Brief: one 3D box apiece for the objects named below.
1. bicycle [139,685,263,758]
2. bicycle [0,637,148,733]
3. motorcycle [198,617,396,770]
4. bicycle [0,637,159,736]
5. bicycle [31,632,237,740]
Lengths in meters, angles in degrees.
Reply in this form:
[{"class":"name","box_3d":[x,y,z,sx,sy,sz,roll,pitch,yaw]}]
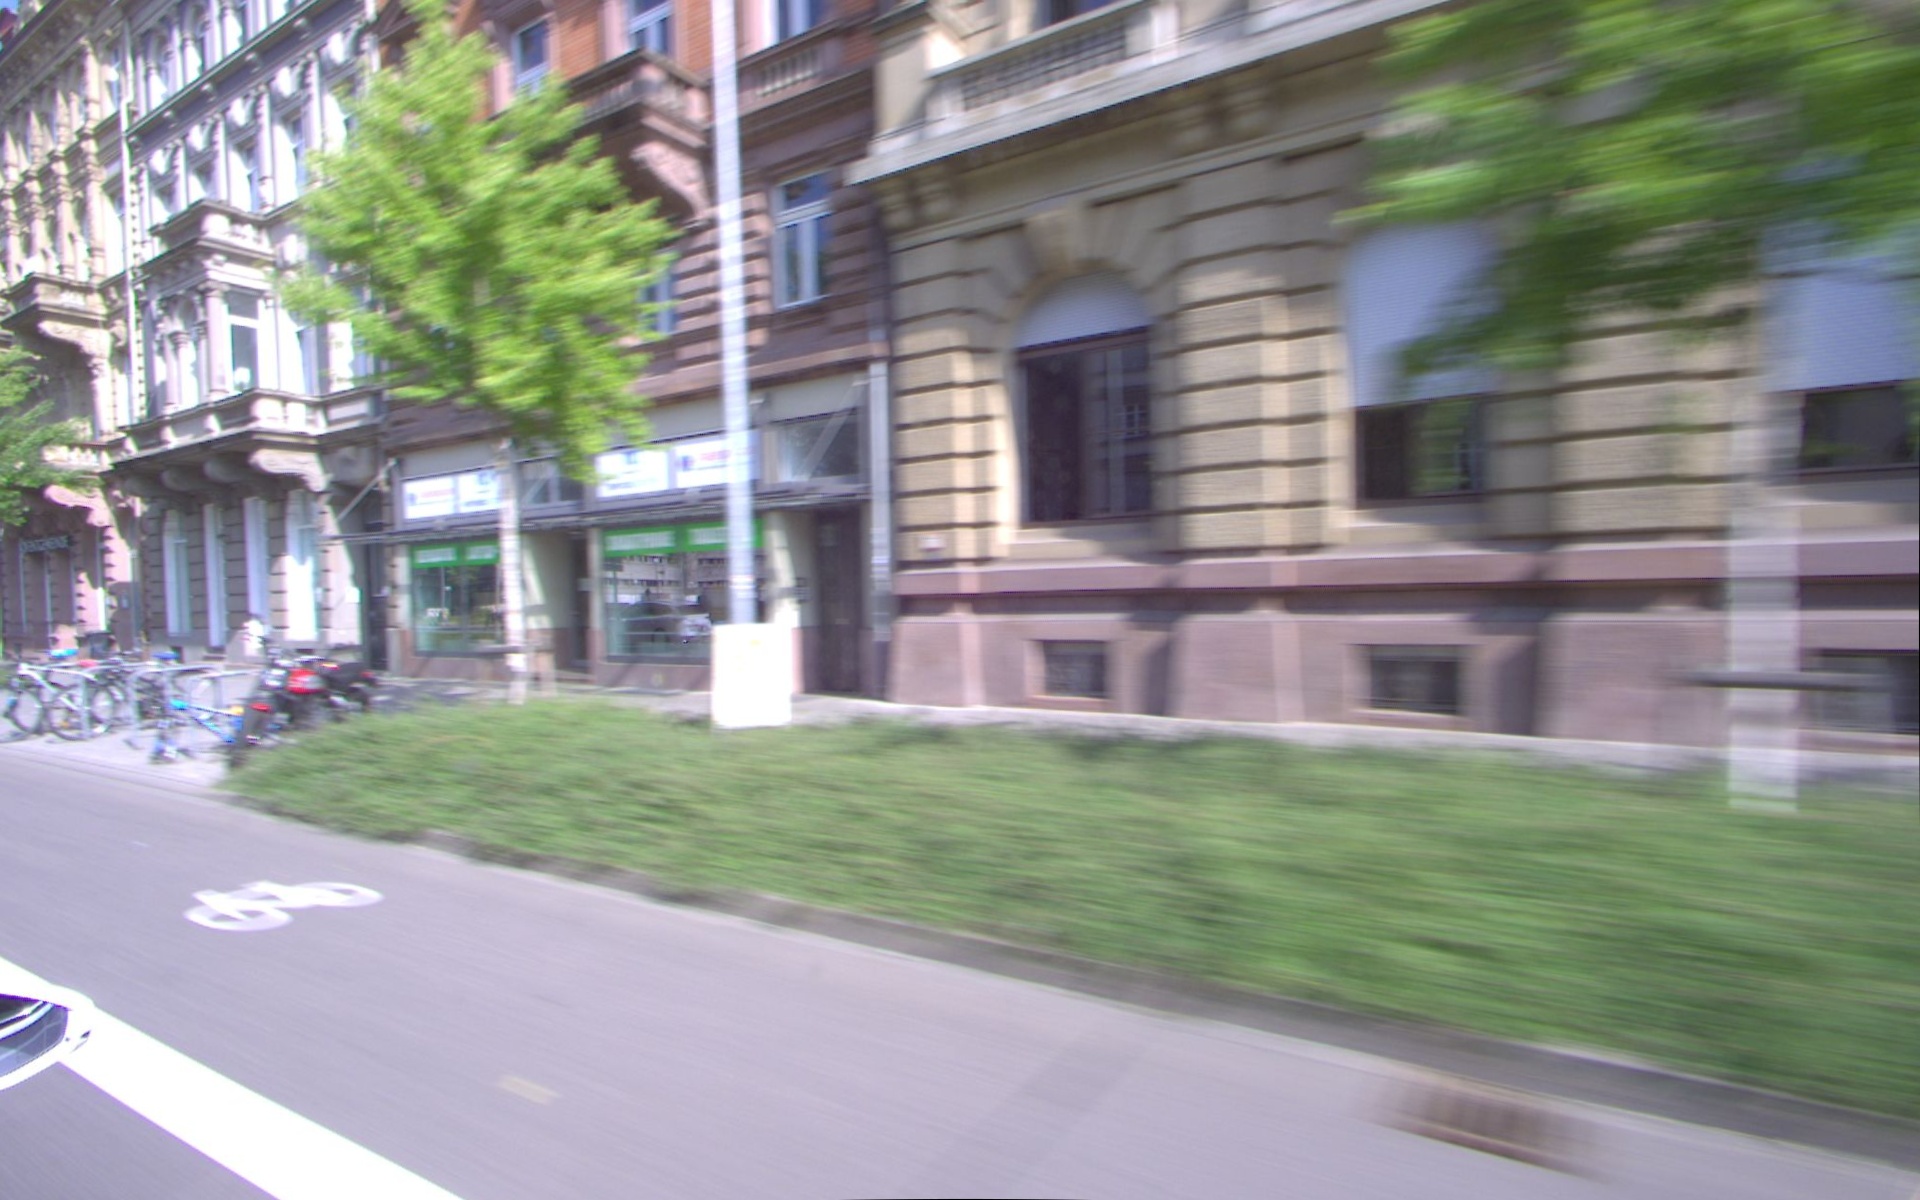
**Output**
[{"class":"bicycle","box_3d":[-8.010,1.270,10.596,0.355,0.618,0.955,0,2,33]},{"class":"bicycle","box_3d":[-11.601,1.071,12.836,0.367,1.068,1.780,0,3,31]},{"class":"motorcycle","box_3d":[-6.695,0.880,10.266,0.691,1.305,2.040,-1,2,-3]},{"class":"bicycle","box_3d":[-11.272,1.063,12.620,0.367,1.068,1.780,0,3,31]},{"class":"bicycle","box_3d":[-10.149,1.009,12.382,0.661,1.111,1.804,0,2,27]}]
